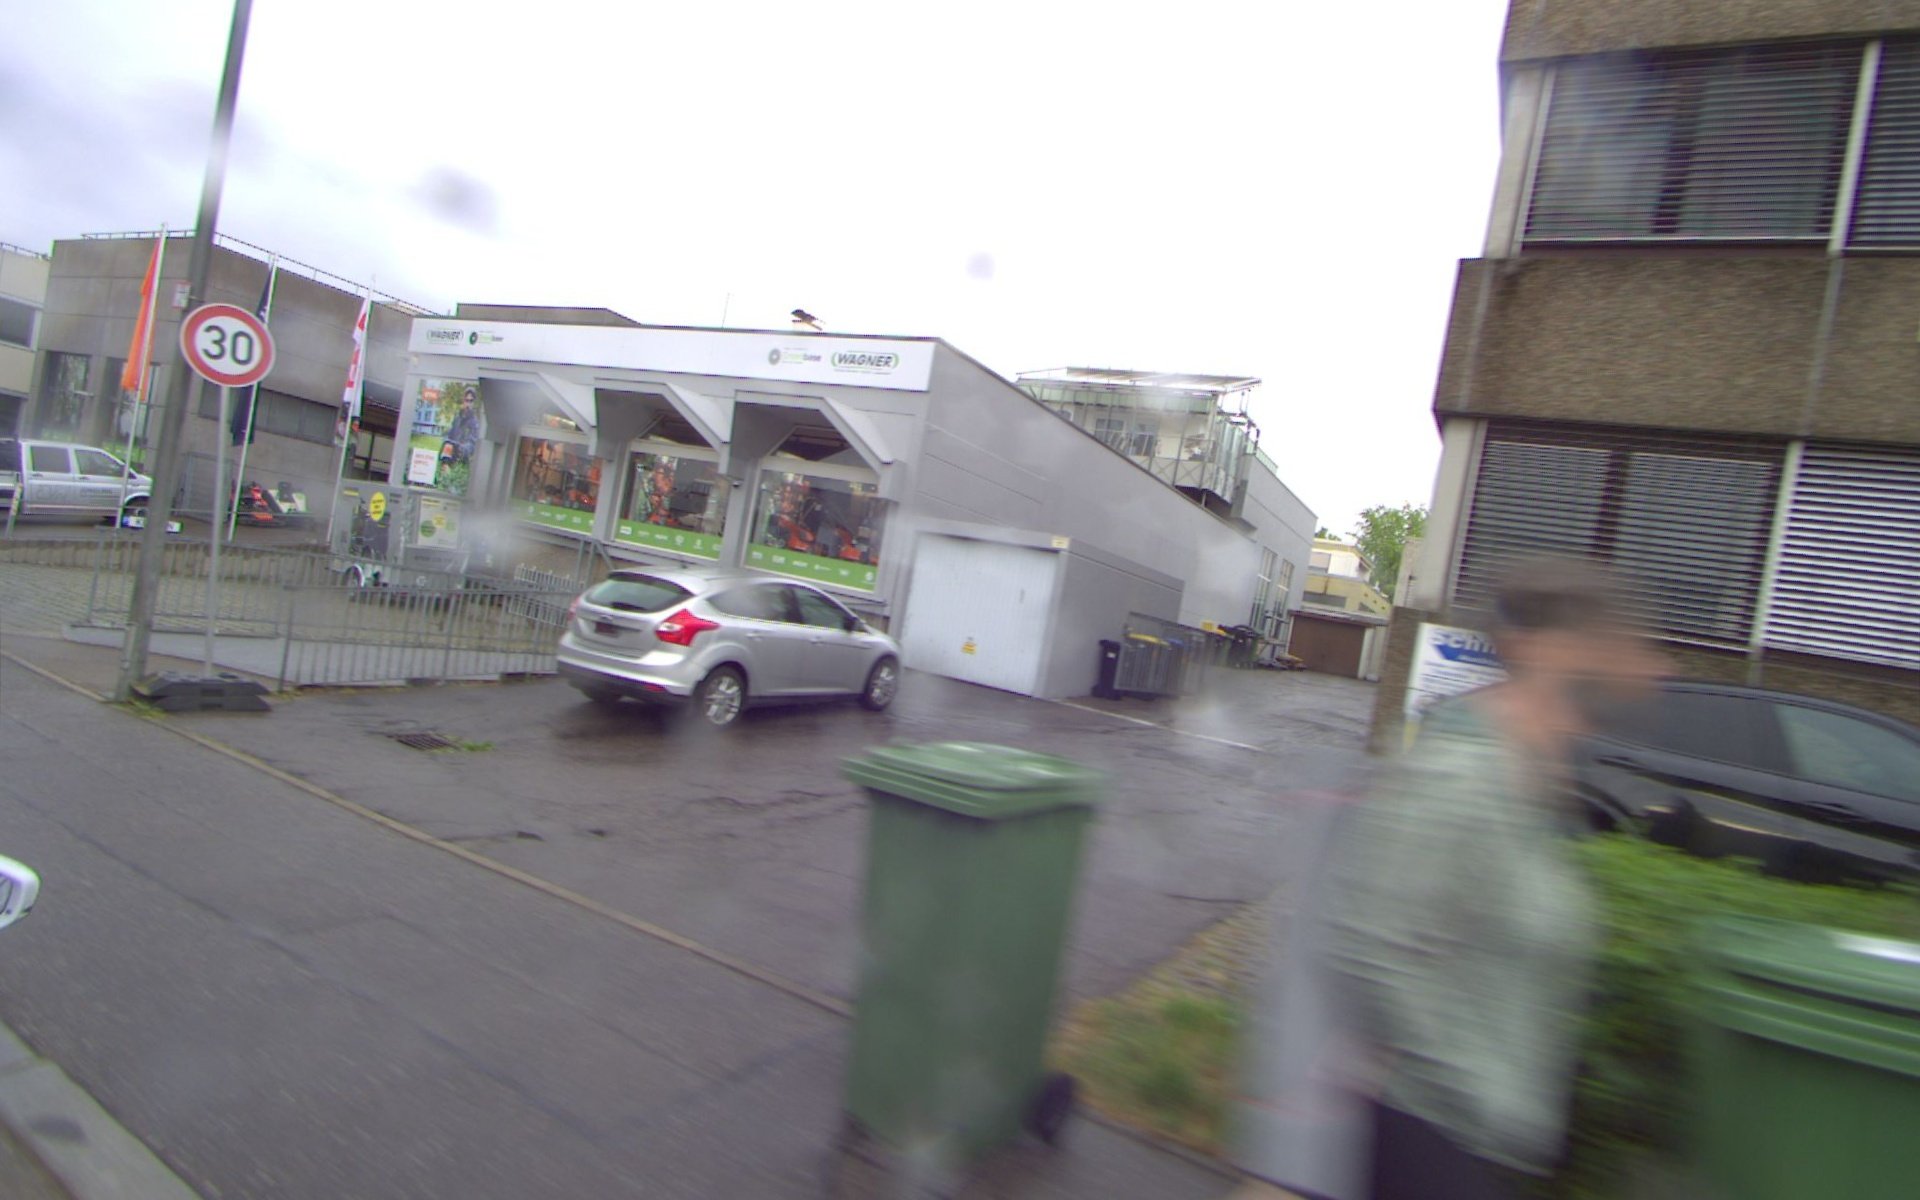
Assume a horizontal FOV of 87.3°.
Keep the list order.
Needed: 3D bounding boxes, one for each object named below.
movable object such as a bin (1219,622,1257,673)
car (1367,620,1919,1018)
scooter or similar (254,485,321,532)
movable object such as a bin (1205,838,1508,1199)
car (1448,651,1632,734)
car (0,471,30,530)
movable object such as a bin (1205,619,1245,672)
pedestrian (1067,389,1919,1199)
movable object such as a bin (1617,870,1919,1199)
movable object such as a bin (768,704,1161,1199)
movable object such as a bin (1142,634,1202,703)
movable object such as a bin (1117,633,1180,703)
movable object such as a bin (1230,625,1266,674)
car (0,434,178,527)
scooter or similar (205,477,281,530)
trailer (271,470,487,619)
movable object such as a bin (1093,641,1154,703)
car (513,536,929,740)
[{"bbox_3d":[9.292,1.596,33.550,0.786,1.551,1.292,7,0,28],"label":"movable object such as a bin"},{"bbox_3d":[5.072,1.306,6.216,4.397,1.771,1.752,7,-1,30],"label":"car"},{"bbox_3d":[-20.072,-2.732,30.022,1.815,1.171,1.003,8,3,33],"label":"scooter or similar"},{"bbox_3d":[0.937,1.132,2.384,0.506,0.978,0.473,8,0,31],"label":"movable object such as a bin"},{"bbox_3d":[15.593,2.455,27.240,3.757,1.589,1.863,7,2,10],"label":"car"},{"bbox_3d":[-30.046,-3.211,28.418,1.892,1.633,5.101,8,0,29],"label":"car"},{"bbox_3d":[8.495,1.463,32.256,0.786,1.551,1.292,7,0,28],"label":"movable object such as a bin"},{"bbox_3d":[0.695,0.680,1.476,0.795,1.788,0.738,7,0,31],"label":"pedestrian"},{"bbox_3d":[1.561,1.132,1.748,0.626,1.079,0.745,8,0,31],"label":"movable object such as a bin"},{"bbox_3d":[0.014,0.934,2.918,0.727,1.126,0.695,8,0,-44],"label":"movable object such as a bin"},{"bbox_3d":[3.886,1.258,18.385,0.610,1.153,1.017,8,1,33],"label":"movable object such as a bin"},{"bbox_3d":[3.263,1.185,17.374,0.610,1.093,1.017,8,1,33],"label":"movable object such as a bin"},{"bbox_3d":[9.942,1.706,34.651,0.786,1.551,1.215,7,0,28],"label":"movable object such as a bin"},{"bbox_3d":[-22.200,-2.873,23.887,2.184,2.044,5.292,7,6,29],"label":"car"},{"bbox_3d":[-20.632,-2.778,28.933,2.030,1.241,1.064,10,5,33],"label":"scooter or similar"},{"bbox_3d":[-12.185,-1.183,21.040,4.236,2.446,1.890,9,1,31],"label":"trailer"},{"bbox_3d":[2.675,1.177,16.470,0.610,0.909,0.803,8,1,33],"label":"movable object such as a bin"},{"bbox_3d":[-2.295,0.387,10.792,1.969,1.594,4.125,7,1,29],"label":"car"}]
